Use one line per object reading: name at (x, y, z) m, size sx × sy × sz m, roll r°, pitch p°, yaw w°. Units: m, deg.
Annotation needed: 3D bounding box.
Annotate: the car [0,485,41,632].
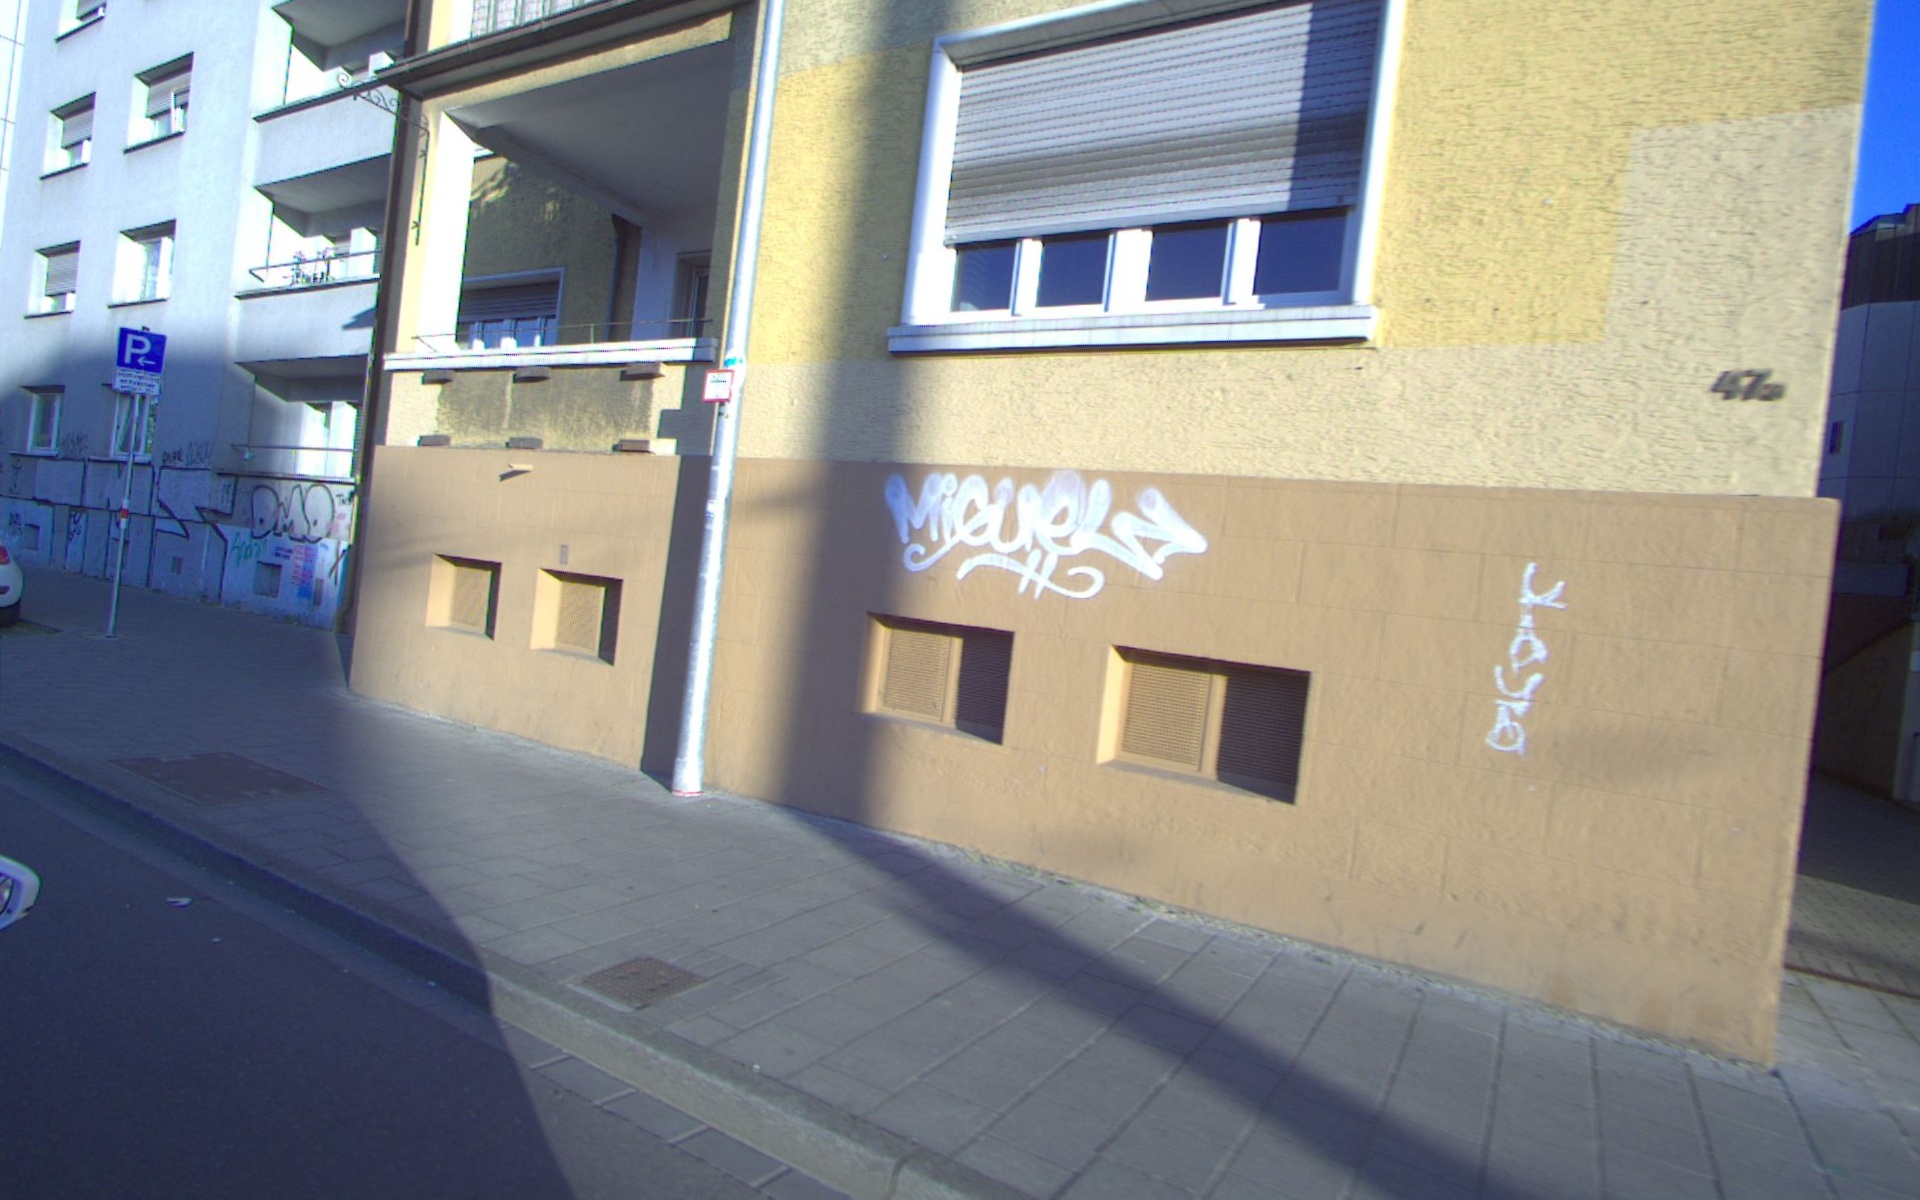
car at (-11.863, -0.595, 10.980) m, size 3.540 × 1.539 × 1.669 m, roll 6°, pitch 3°, yaw 29°
